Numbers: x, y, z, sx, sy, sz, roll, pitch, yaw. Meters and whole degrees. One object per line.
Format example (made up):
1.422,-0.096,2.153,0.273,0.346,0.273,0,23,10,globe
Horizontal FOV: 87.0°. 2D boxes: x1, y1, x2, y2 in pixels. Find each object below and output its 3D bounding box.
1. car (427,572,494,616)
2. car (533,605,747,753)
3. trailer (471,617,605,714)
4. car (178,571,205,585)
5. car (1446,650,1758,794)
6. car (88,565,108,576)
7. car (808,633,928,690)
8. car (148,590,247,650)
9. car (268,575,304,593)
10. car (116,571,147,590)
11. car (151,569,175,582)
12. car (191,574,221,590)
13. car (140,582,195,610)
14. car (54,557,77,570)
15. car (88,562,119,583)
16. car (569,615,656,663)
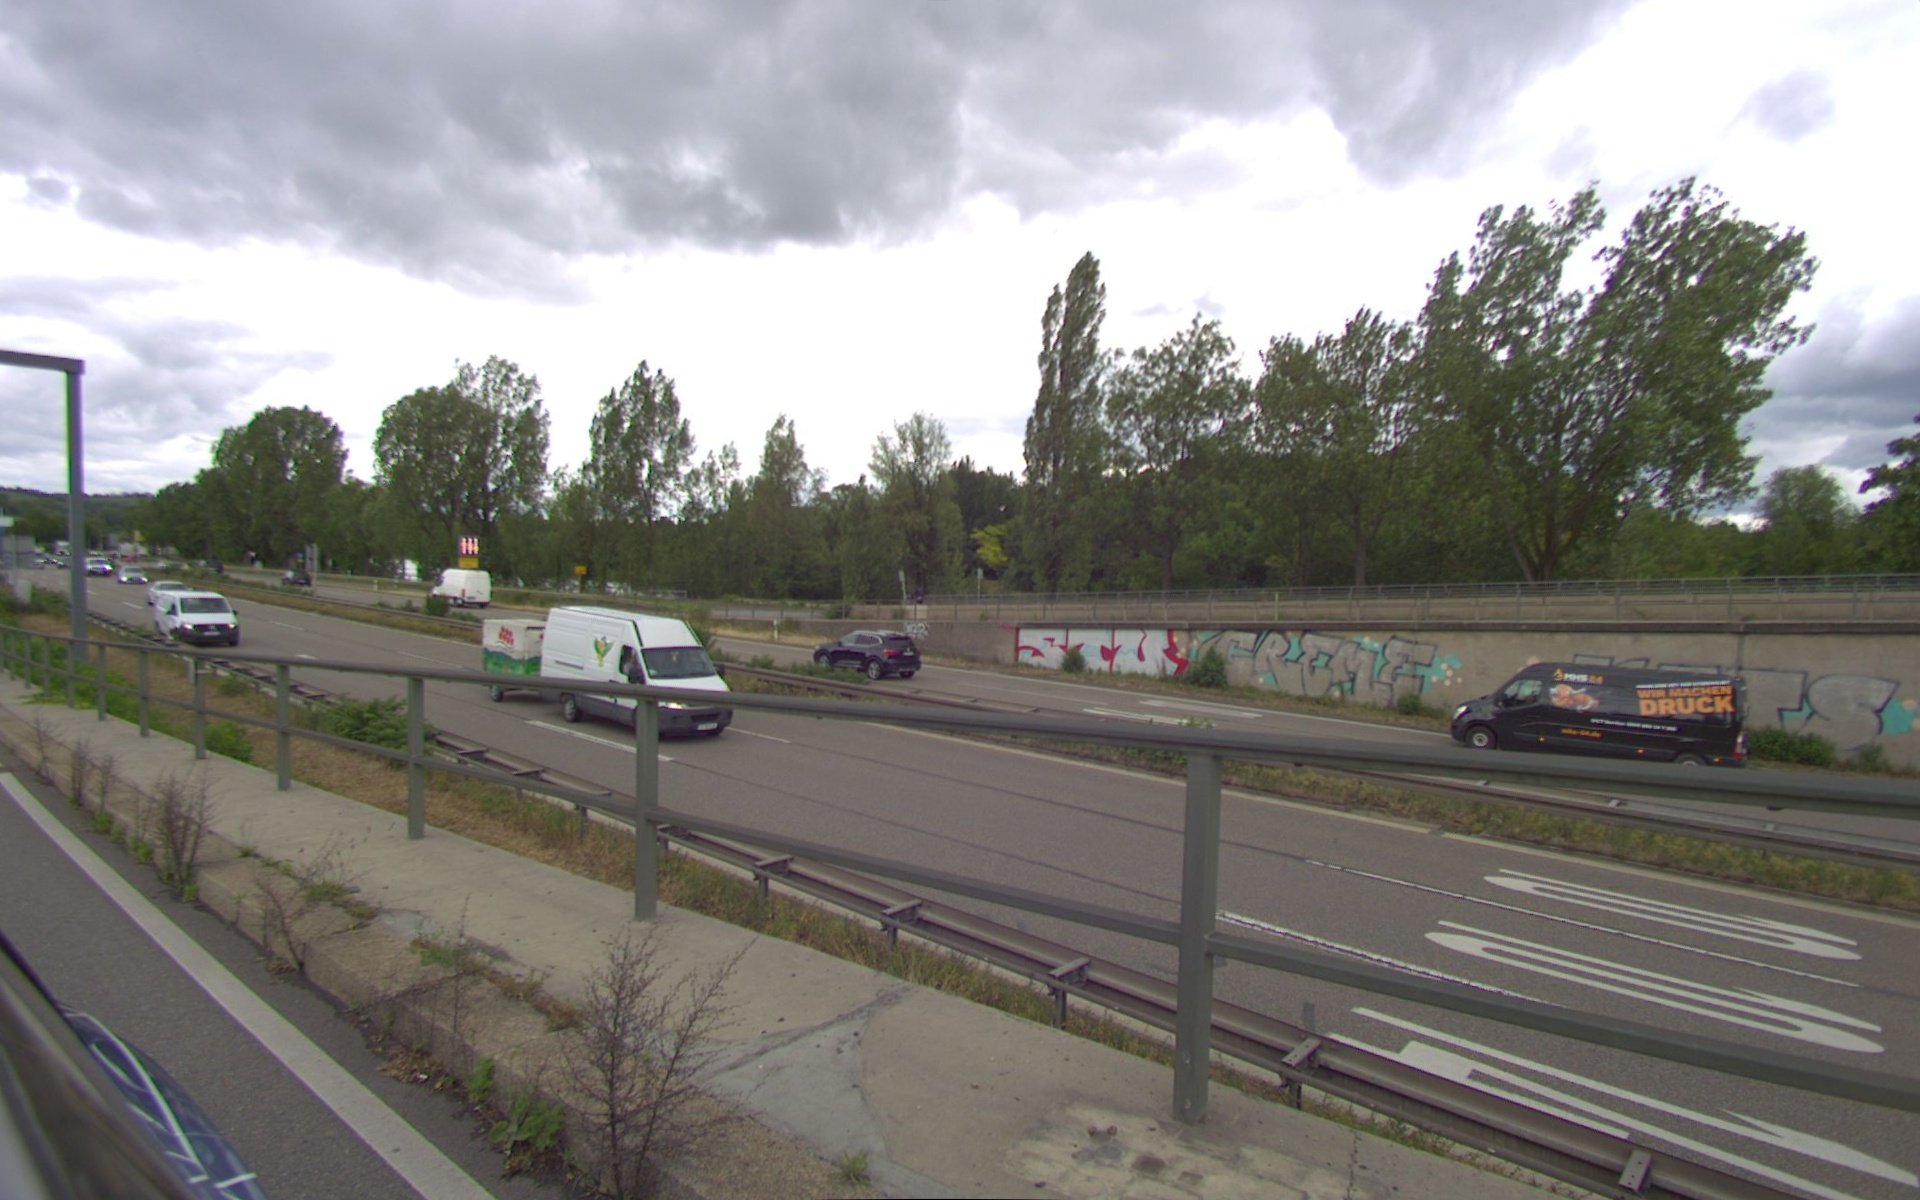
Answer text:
-34.889,-0.458,70.611,5.359,2.800,2.187,4,2,41,car
-7.592,1.658,23.606,5.931,2.704,1.973,4,3,41,car
-11.251,1.645,26.862,3.935,2.145,1.711,3,3,41,trailer
-93.316,-2.684,122.816,3.930,1.662,1.879,2,2,41,car
15.455,2.769,24.655,6.111,2.566,2.221,3,2,40,car
-136.397,-4.693,160.131,3.930,1.662,1.879,2,2,41,car
-3.399,2.179,37.018,4.332,1.662,1.879,4,1,41,car
-29.058,0.700,38.487,5.197,1.890,1.973,4,3,41,car
-64.459,-1.535,96.793,3.930,1.662,1.879,1,1,41,car
-72.330,-1.731,88.347,3.681,1.564,1.540,3,3,41,car
-106.270,-3.267,134.892,3.930,1.662,1.879,2,2,41,car
-83.178,-1.945,111.629,3.930,1.662,1.879,2,2,41,car
-45.857,-0.231,58.540,4.164,1.462,1.724,3,2,41,car
-121.126,-4.951,137.052,4.278,1.726,1.821,4,3,41,car
-87.793,-2.828,103.735,4.898,1.949,1.928,4,3,44,car
-14.695,1.599,42.748,3.930,1.662,1.739,4,3,41,car
